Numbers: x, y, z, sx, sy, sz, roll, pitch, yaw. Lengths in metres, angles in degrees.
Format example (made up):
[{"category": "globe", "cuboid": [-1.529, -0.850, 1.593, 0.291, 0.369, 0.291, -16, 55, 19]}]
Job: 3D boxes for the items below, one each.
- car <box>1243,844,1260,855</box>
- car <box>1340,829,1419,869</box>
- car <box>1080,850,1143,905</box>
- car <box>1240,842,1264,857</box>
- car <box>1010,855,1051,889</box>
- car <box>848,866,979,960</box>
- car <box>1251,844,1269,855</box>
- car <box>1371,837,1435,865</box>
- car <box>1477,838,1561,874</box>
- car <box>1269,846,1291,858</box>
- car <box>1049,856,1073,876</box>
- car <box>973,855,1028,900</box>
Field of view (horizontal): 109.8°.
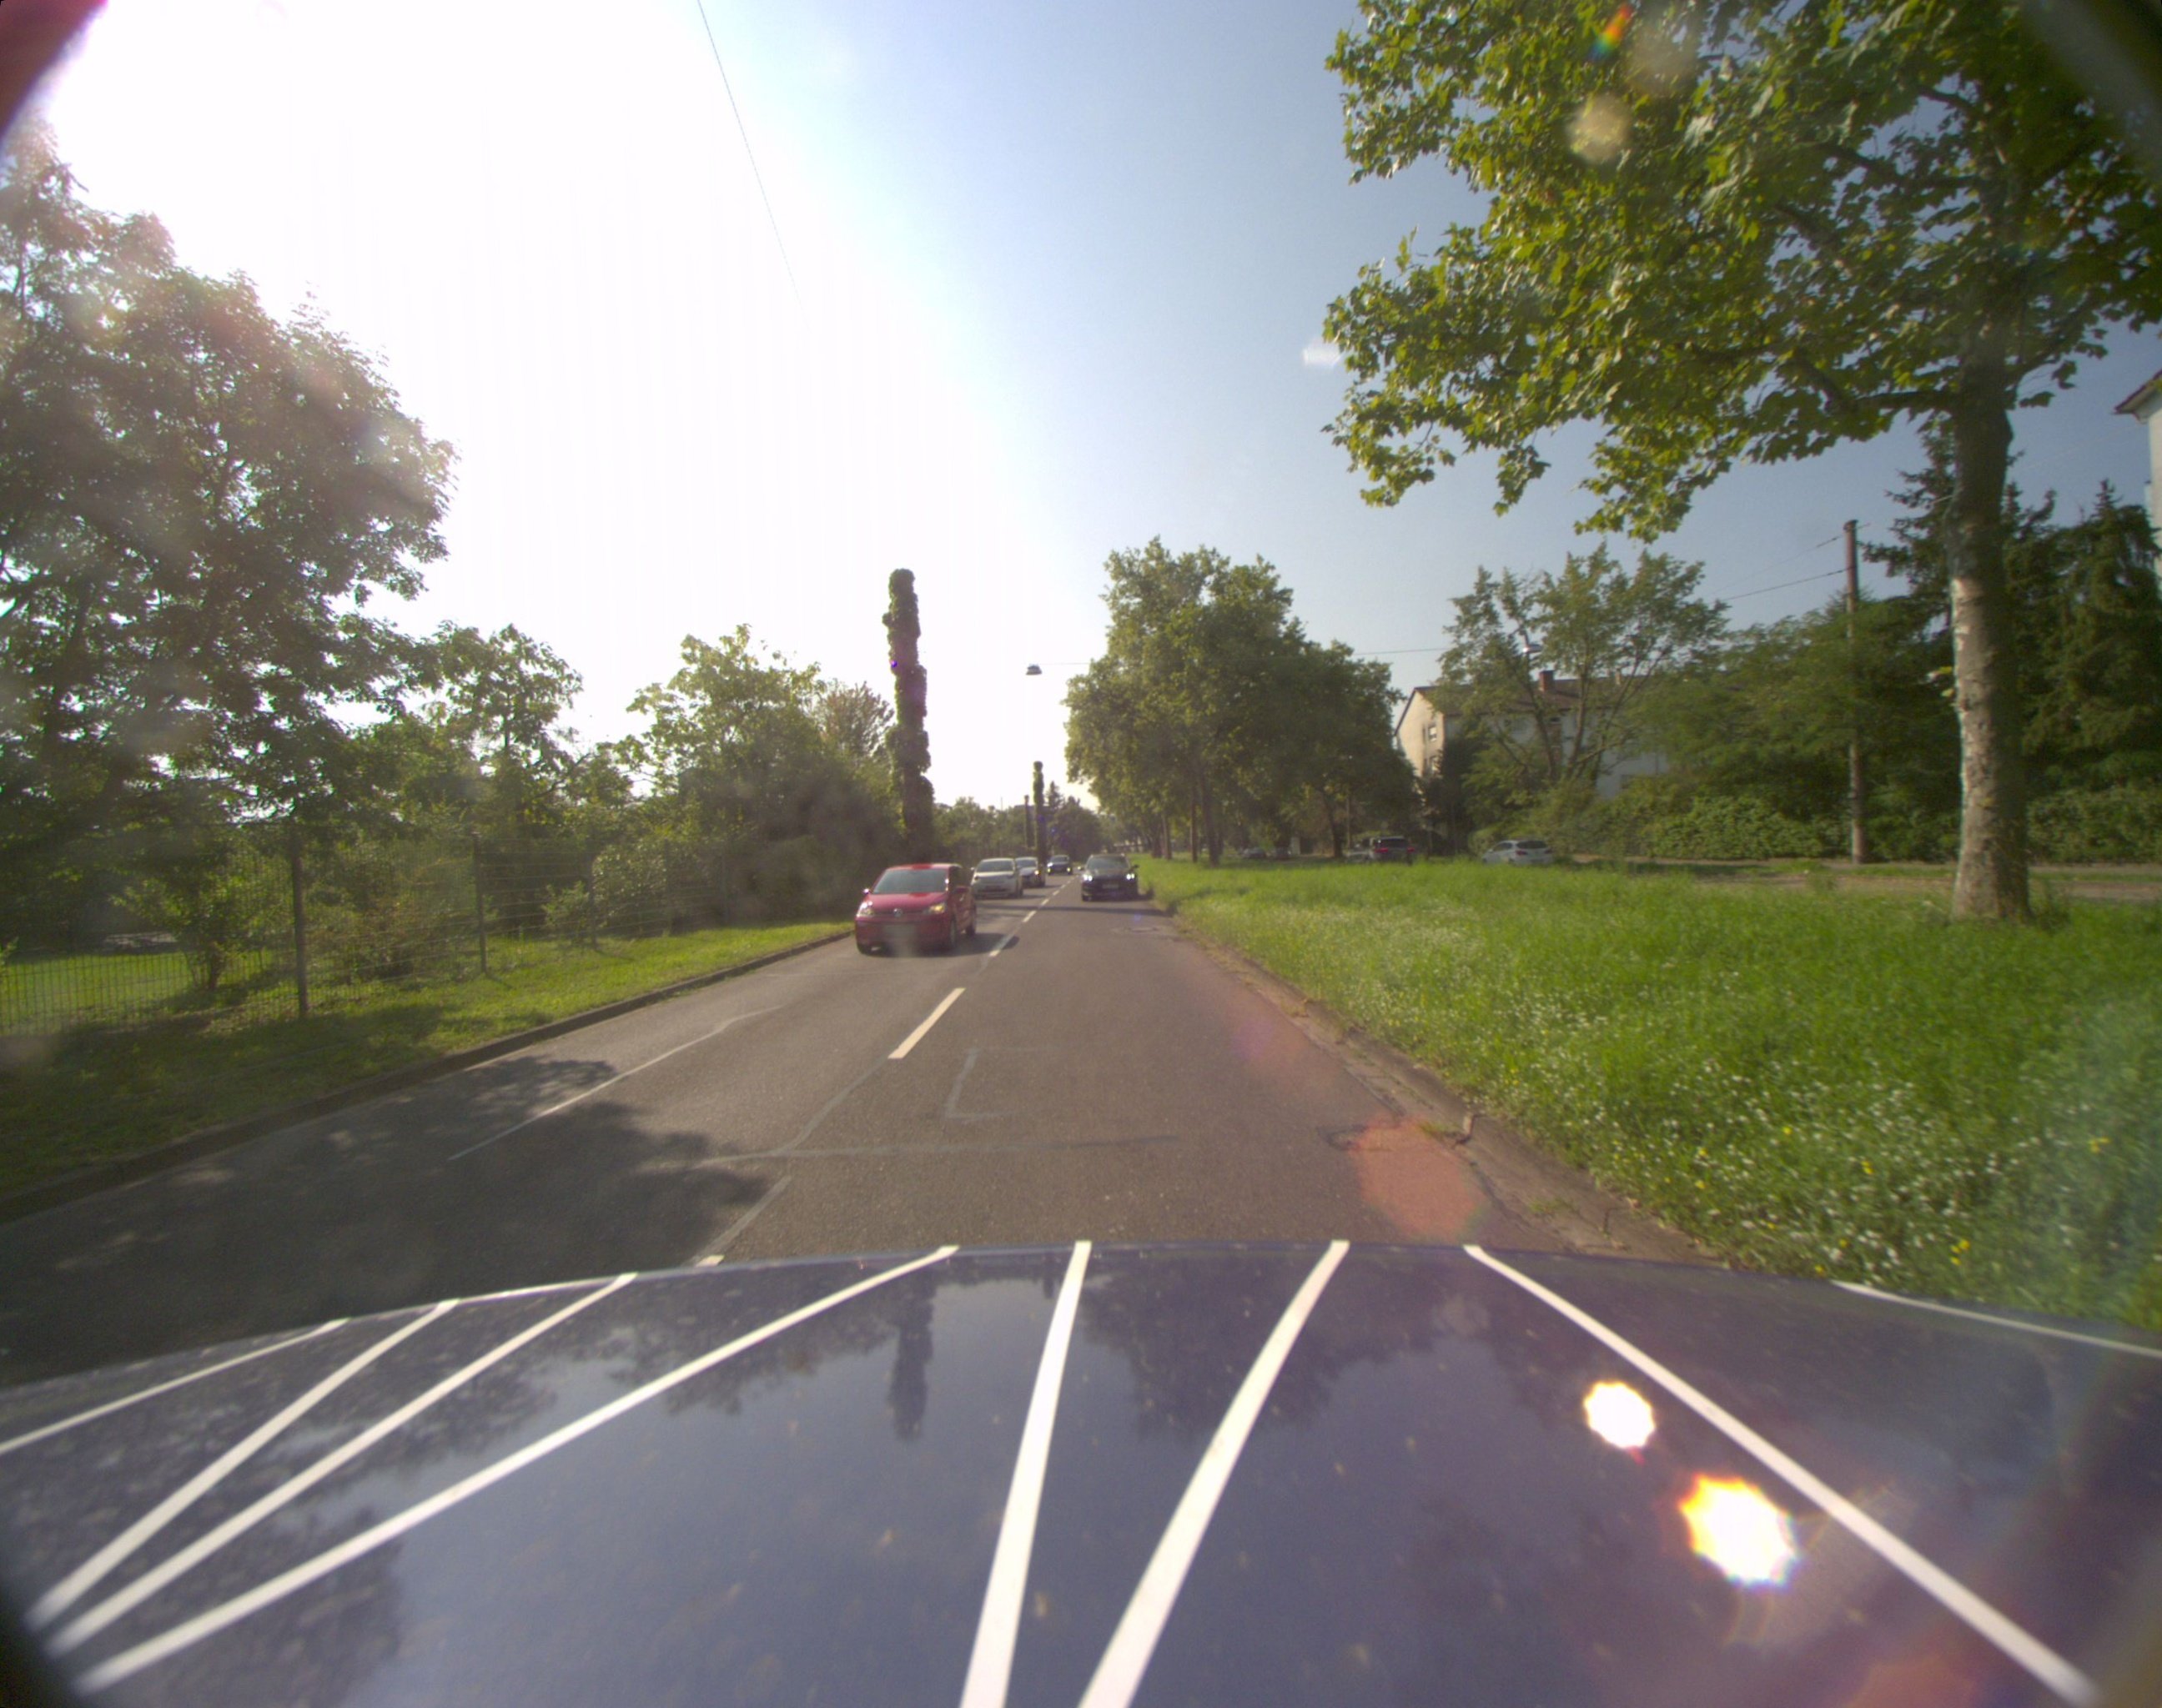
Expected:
[{"category": "car", "cuboid": [22.797, -0.569, 101.523, 1.613, 1.398, 3.523, -2, 0, 3]}, {"category": "car", "cuboid": [13.728, -0.242, 35.260, 1.779, 1.607, 4.856, -3, 1, 1]}, {"category": "car", "cuboid": [0.967, 0.704, 25.312, 1.862, 1.572, 3.611, -3, 1, 1]}, {"category": "car", "cuboid": [18.537, -0.531, 82.525, 1.649, 1.471, 3.898, -3, 1, 1]}, {"category": "car", "cuboid": [-2.494, 0.840, 38.082, 1.649, 1.467, 3.898, -3, 1, 1]}, {"category": "car", "cuboid": [-2.960, 0.996, 14.107, 1.579, 1.390, 3.471, -2, 1, 1]}, {"category": "car", "cuboid": [22.519, -0.585, 95.795, 1.613, 1.284, 3.523, -3, 1, 3]}, {"category": "car", "cuboid": [17.521, -0.157, 41.548, 1.649, 1.356, 3.898, -3, 0, -2]}, {"category": "car", "cuboid": [20.231, 0.071, 35.251, 1.649, 1.471, 3.898, -3, 1, 1]}, {"category": "car", "cuboid": [22.046, -0.231, 84.274, 1.613, 1.284, 3.523, -3, 1, 3]}, {"category": "car", "cuboid": [-1.551, 0.921, 59.225, 1.649, 1.378, 3.898, -3, 1, 1]}, {"category": "car", "cuboid": [-3.068, 0.863, 29.670, 1.649, 1.467, 3.898, -3, 1, 0]}]
